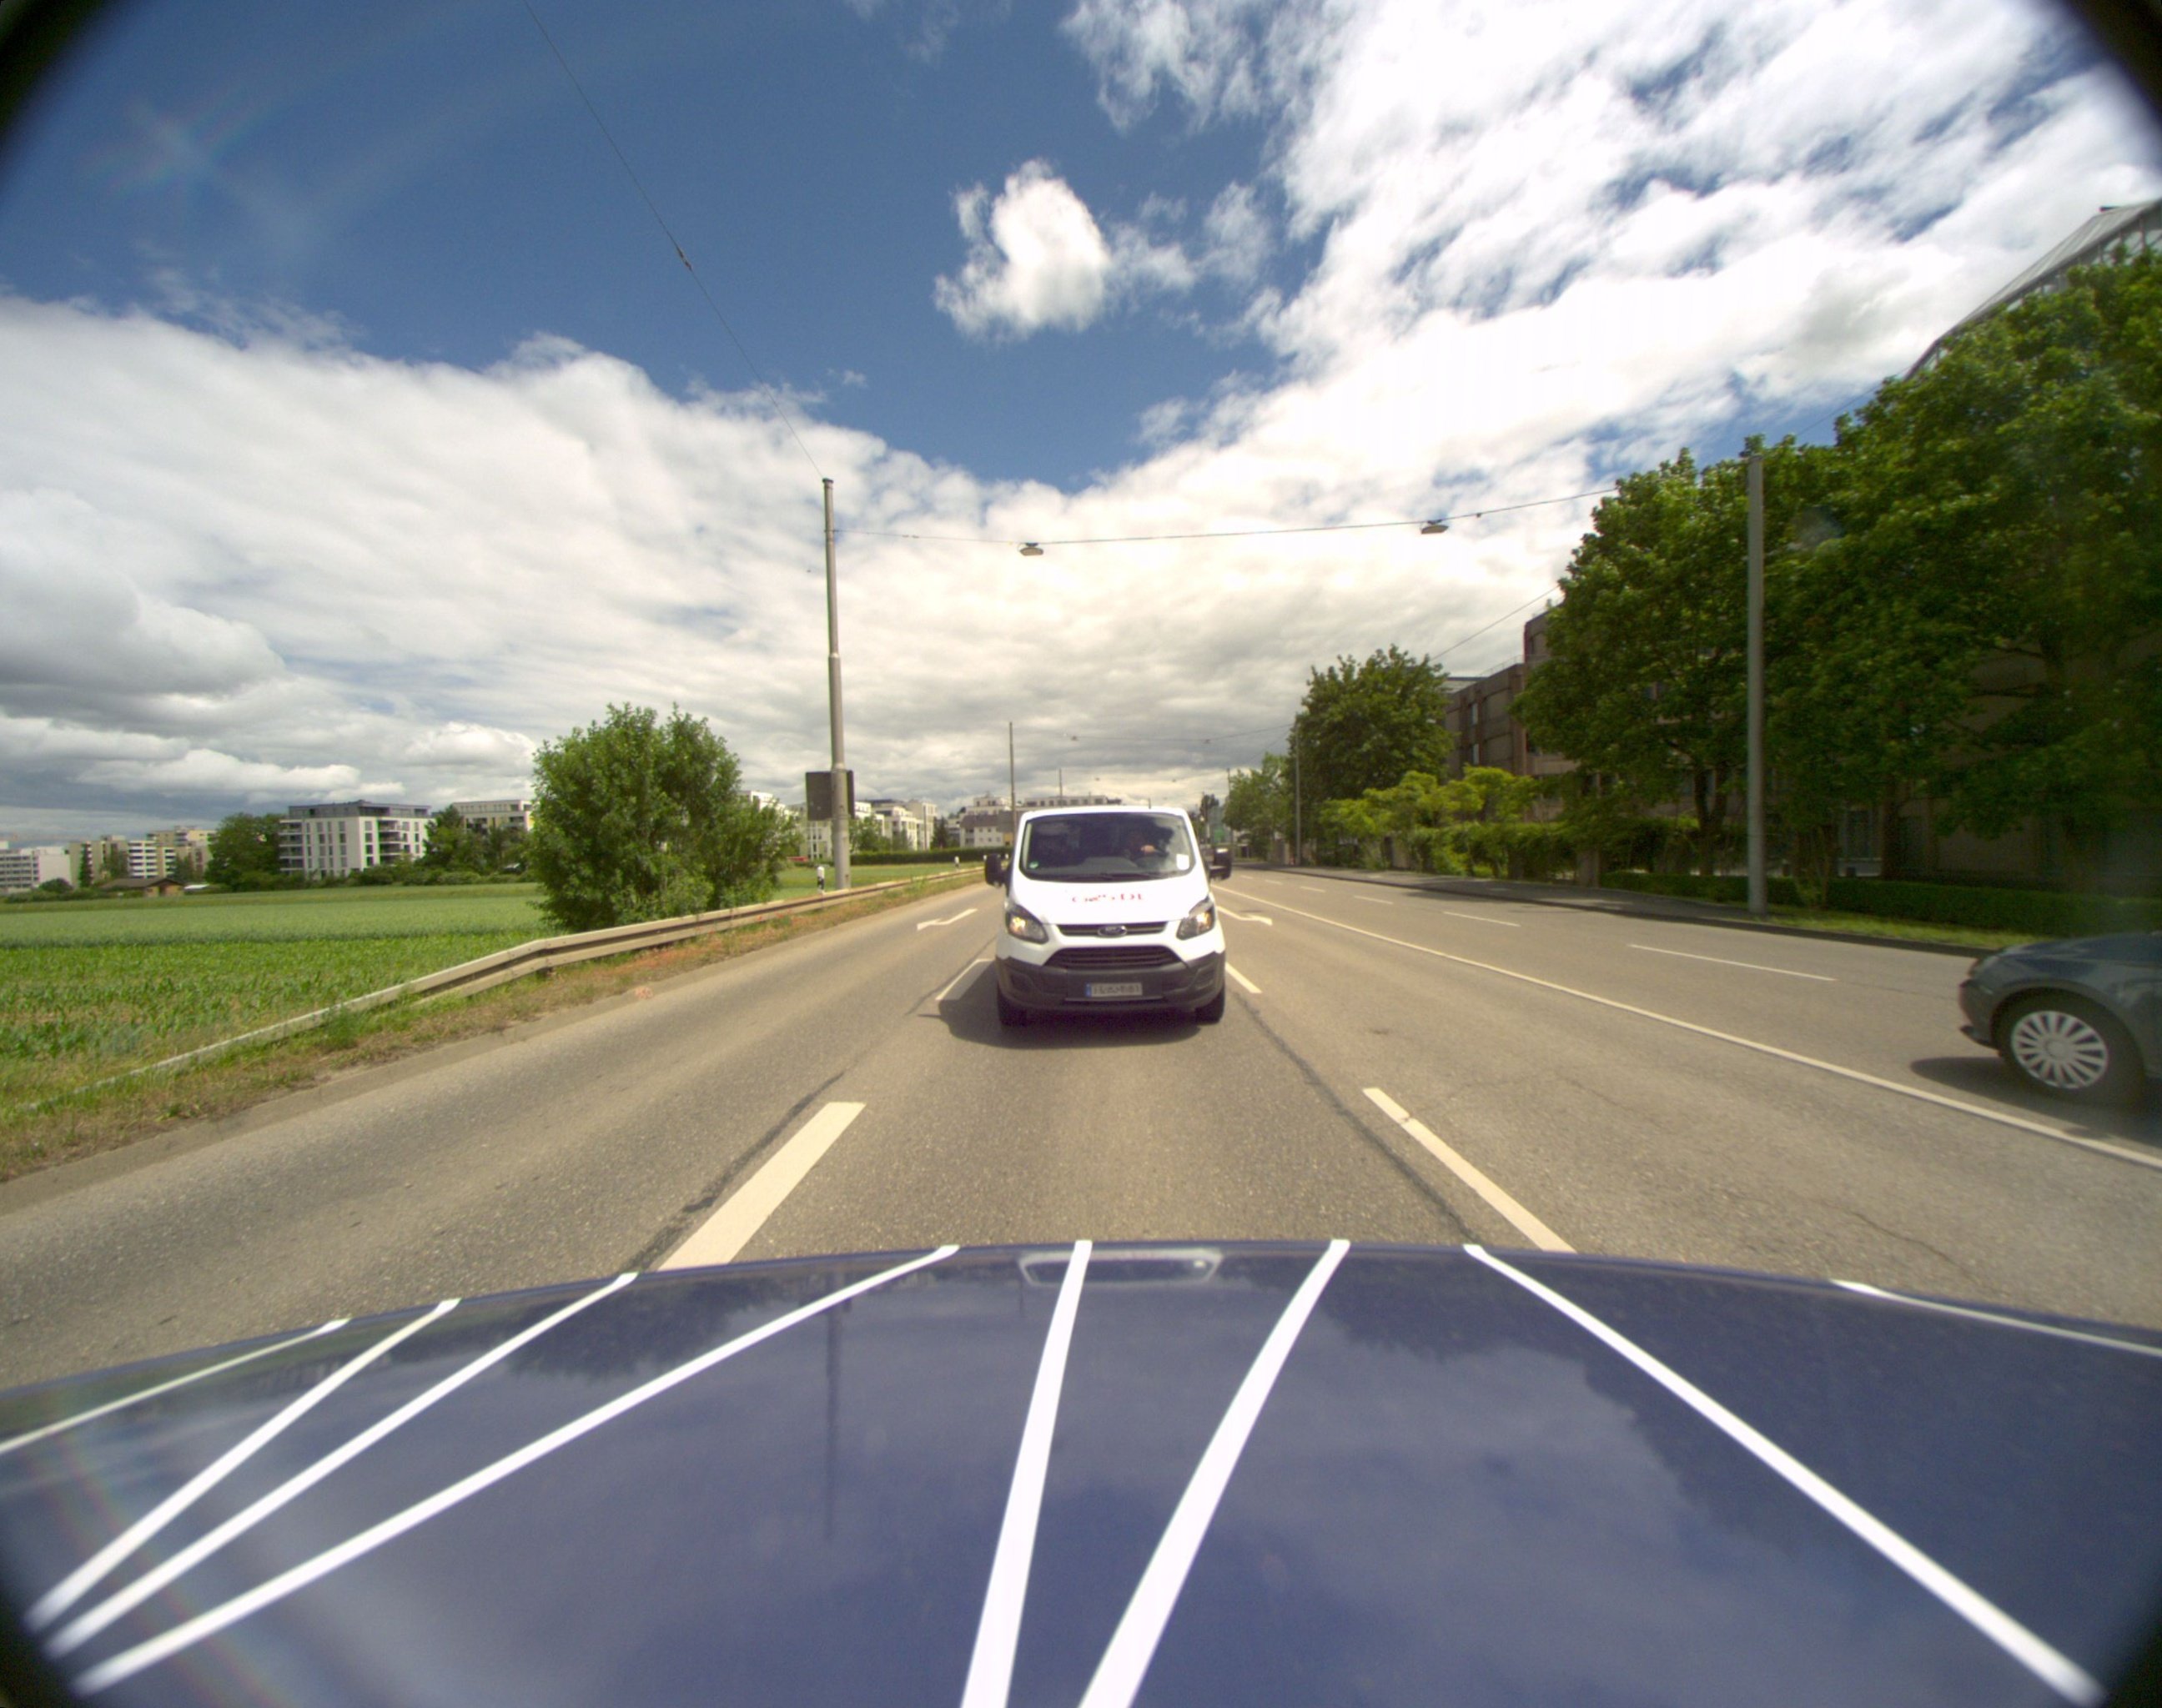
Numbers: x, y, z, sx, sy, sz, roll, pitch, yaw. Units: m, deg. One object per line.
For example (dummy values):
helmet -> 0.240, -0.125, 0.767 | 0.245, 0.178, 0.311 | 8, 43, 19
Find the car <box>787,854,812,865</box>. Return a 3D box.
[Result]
car -> -58.614, 1.100, 158.095 | 4.436, 2.002, 2.000 | -1, 2, 2

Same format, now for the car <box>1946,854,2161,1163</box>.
car -> 6.133, 0.757, 2.660 | 1.673, 1.515, 4.008 | 0, 0, 1

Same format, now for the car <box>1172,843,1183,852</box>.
car -> 19.306, -1.358, 152.571 | 1.872, 1.606, 4.571 | -1, 1, 3

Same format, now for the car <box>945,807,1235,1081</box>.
car -> 0.275, 0.609, 8.272 | 1.998, 1.907, 5.883 | -1, 1, 4
